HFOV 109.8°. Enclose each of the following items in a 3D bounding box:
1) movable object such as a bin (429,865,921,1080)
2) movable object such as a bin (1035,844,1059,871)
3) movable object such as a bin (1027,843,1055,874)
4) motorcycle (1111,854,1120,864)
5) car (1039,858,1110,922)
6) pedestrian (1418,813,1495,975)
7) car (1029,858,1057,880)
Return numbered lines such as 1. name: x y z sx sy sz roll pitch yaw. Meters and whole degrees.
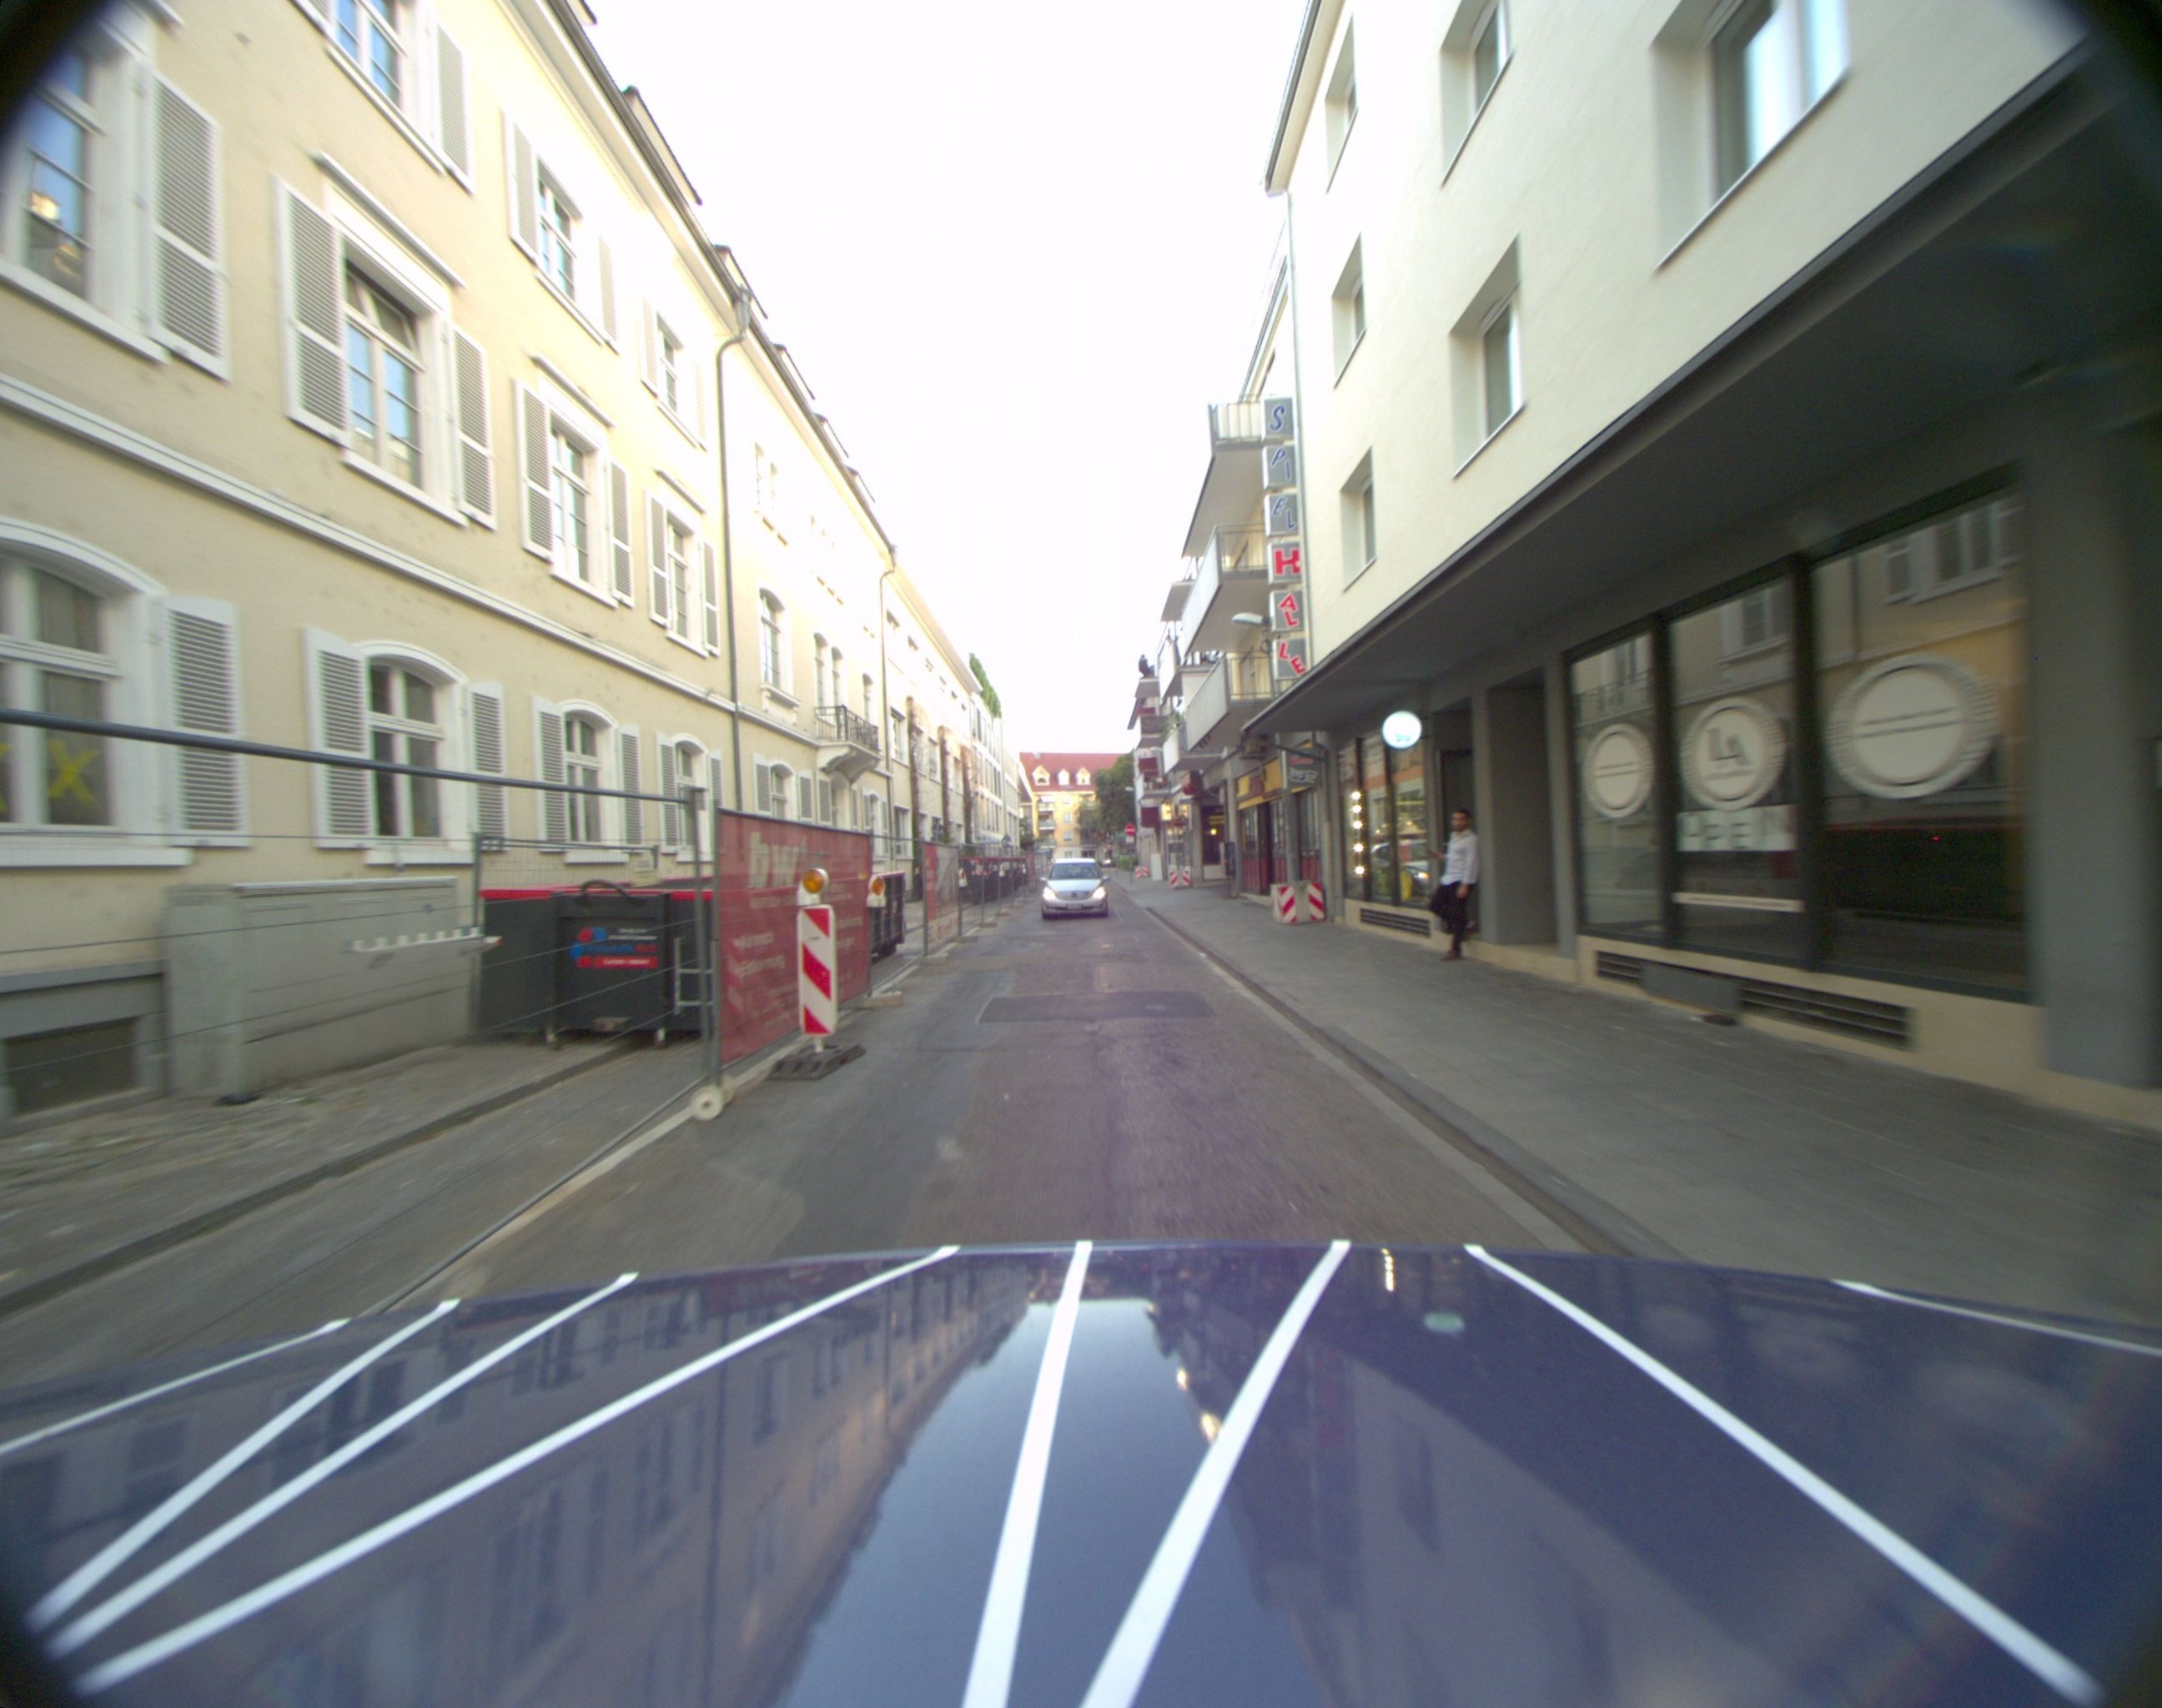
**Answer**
1. movable object such as a bin: -4.388 1.105 10.515 2.743 1.629 7.551 -3 0 -1
2. movable object such as a bin: -3.504 0.345 80.063 2.021 2.608 5.750 -5 0 1
3. movable object such as a bin: -3.698 0.386 70.763 2.021 2.608 5.751 -5 0 1
4. motorcycle: 4.693 0.649 102.626 0.858 1.345 1.960 -2 0 9
5. car: -0.153 0.954 21.784 1.804 1.607 4.273 -2 -1 0
6. pedestrian: 4.398 0.456 8.916 0.532 1.824 0.562 -2 0 -6
7. car: -2.847 1.089 57.612 1.792 1.463 4.445 -5 0 0
